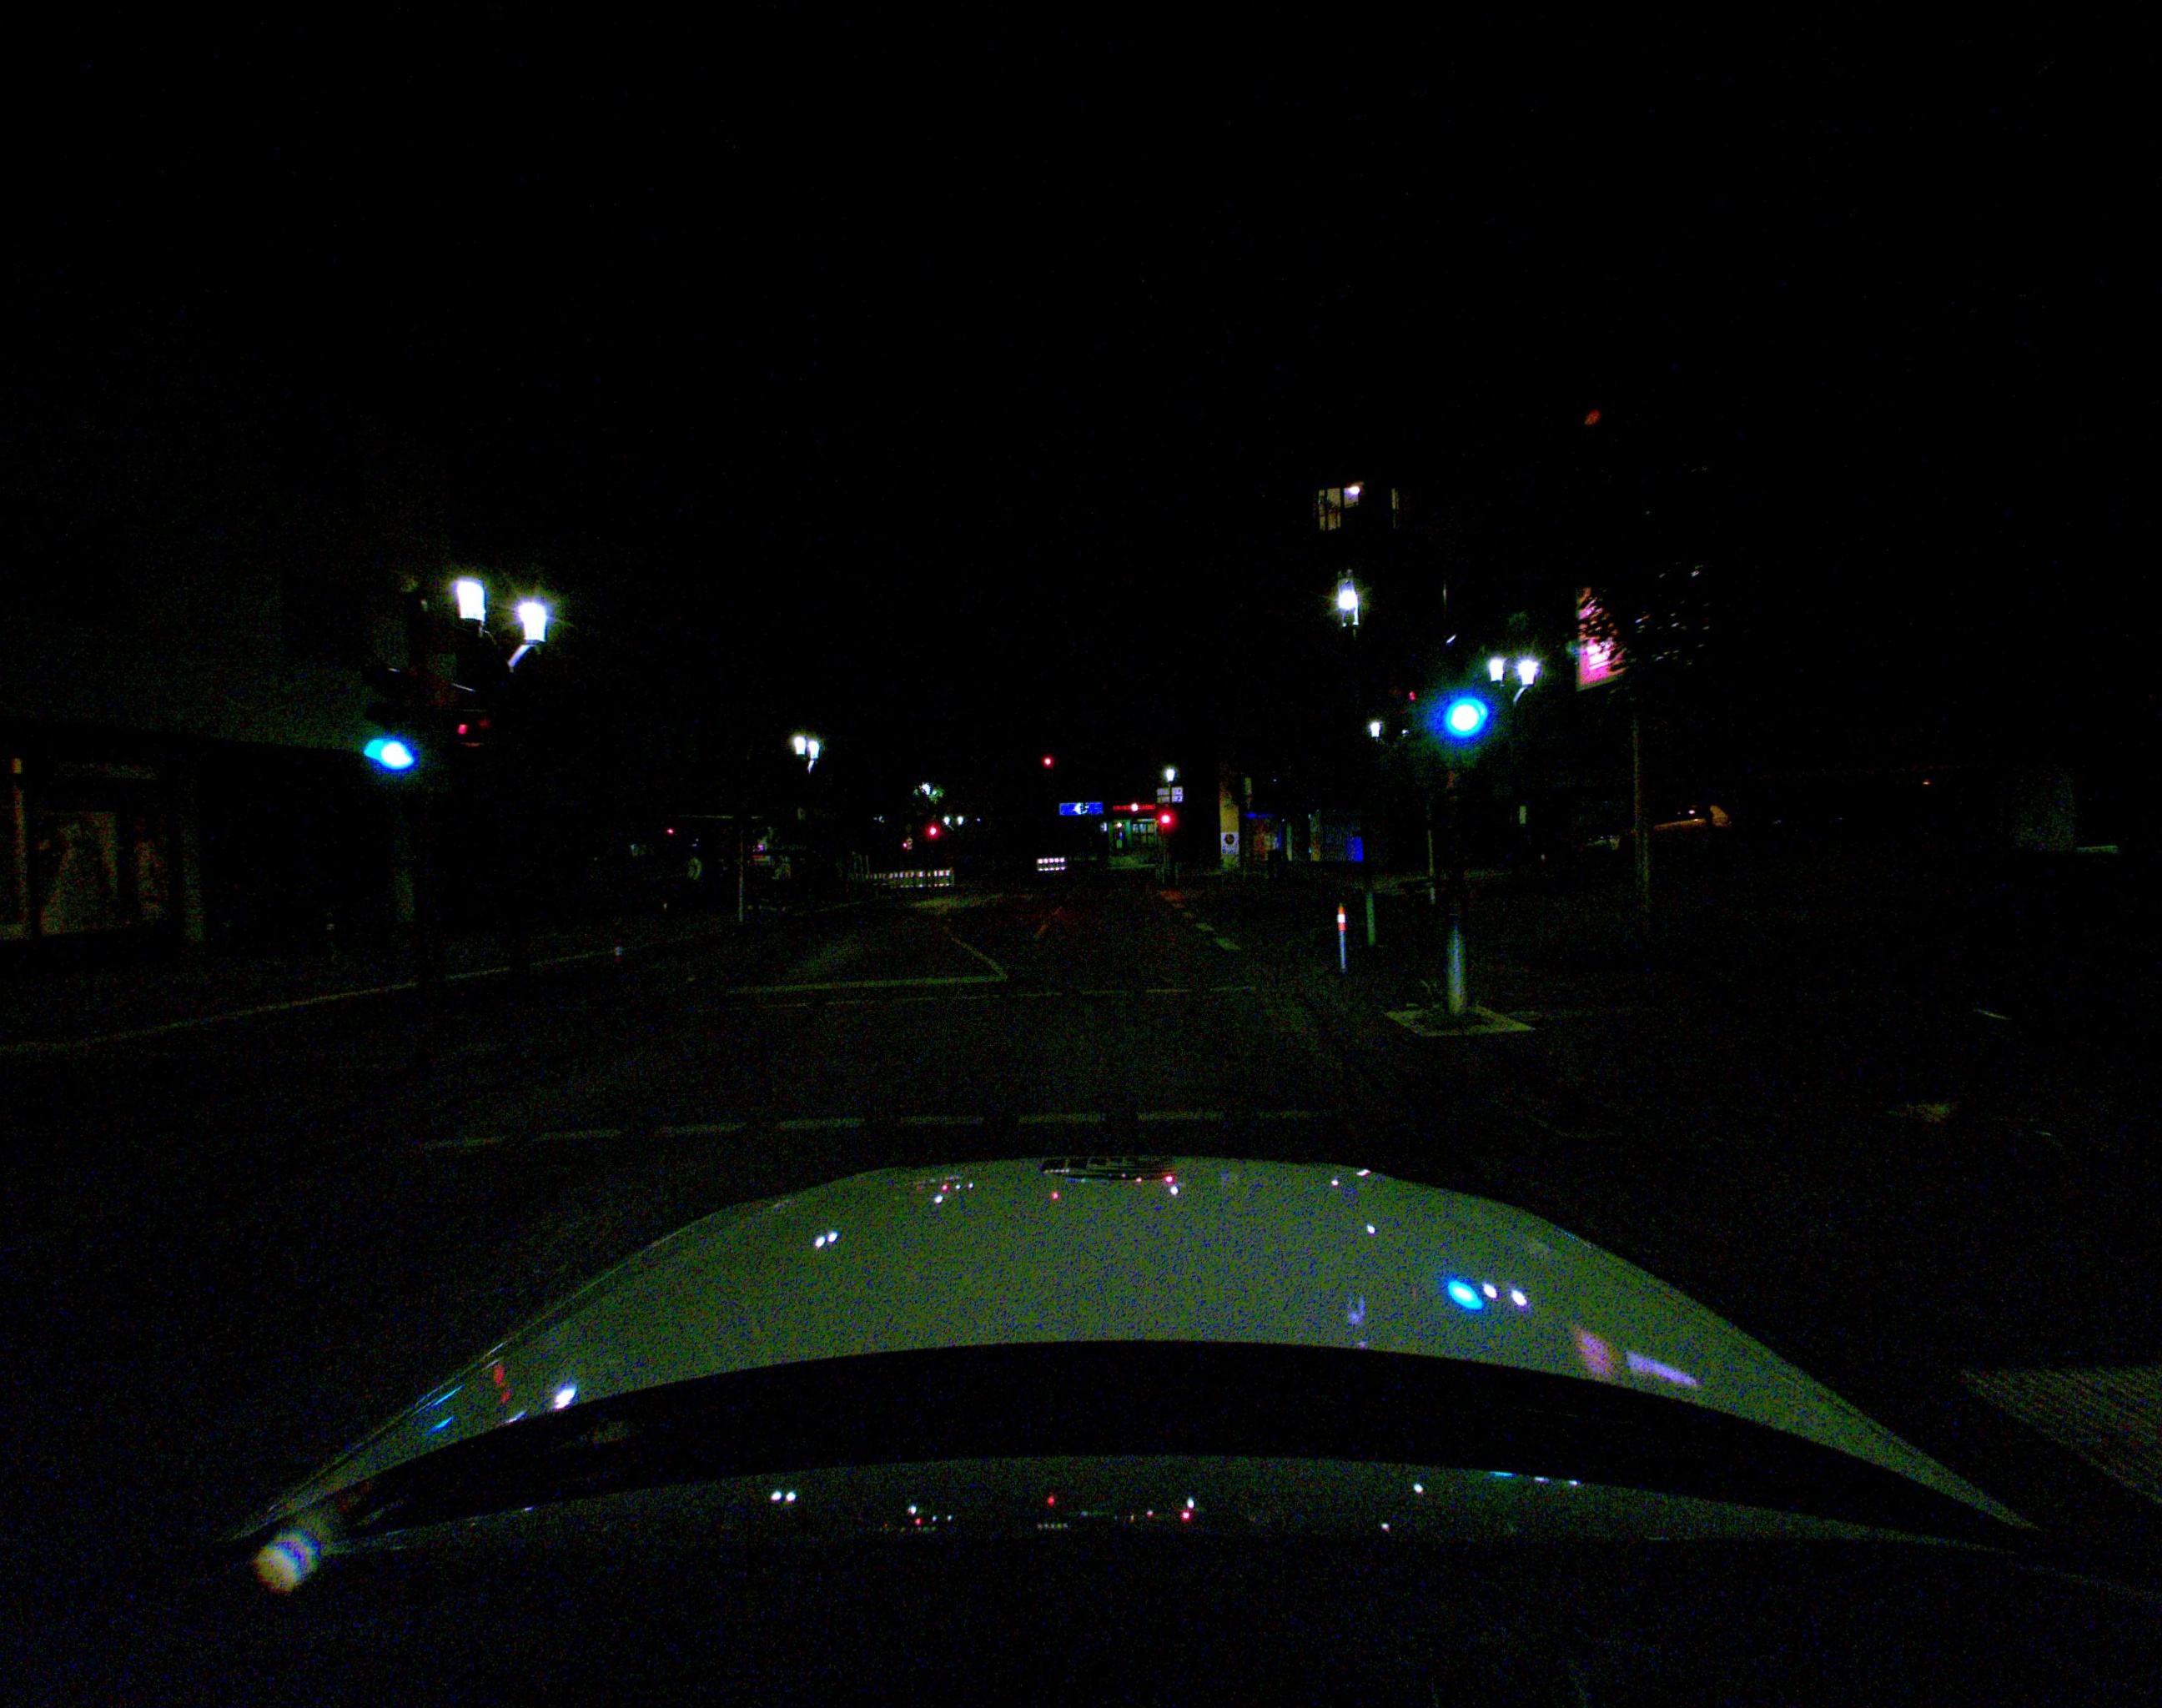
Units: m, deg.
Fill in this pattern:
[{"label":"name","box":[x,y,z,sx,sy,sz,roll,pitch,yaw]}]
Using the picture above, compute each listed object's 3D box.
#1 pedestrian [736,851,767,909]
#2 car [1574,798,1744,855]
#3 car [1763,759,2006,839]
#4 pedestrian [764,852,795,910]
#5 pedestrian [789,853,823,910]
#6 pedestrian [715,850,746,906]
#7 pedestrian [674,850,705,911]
[{"label":"pedestrian","box":[-10.302,0.808,25.459,0.712,1.795,0.571,-1,-2,8]},{"label":"car","box":[18.506,-0.855,26.231,4.019,1.452,1.830,-4,0,8]},{"label":"car","box":[23.384,-1.506,24.050,4.783,1.910,2.172,-2,-2,37]},{"label":"pedestrian","box":[-9.370,0.841,25.325,0.712,1.795,0.571,-1,-2,8]},{"label":"pedestrian","box":[-8.835,0.867,26.137,0.709,1.795,0.741,-2,-2,30]},{"label":"pedestrian","box":[-11.473,0.787,26.651,0.712,1.795,0.571,-1,-2,8]},{"label":"pedestrian","box":[-11.736,0.796,24.407,0.716,1.795,0.567,0,-2,-13]}]
